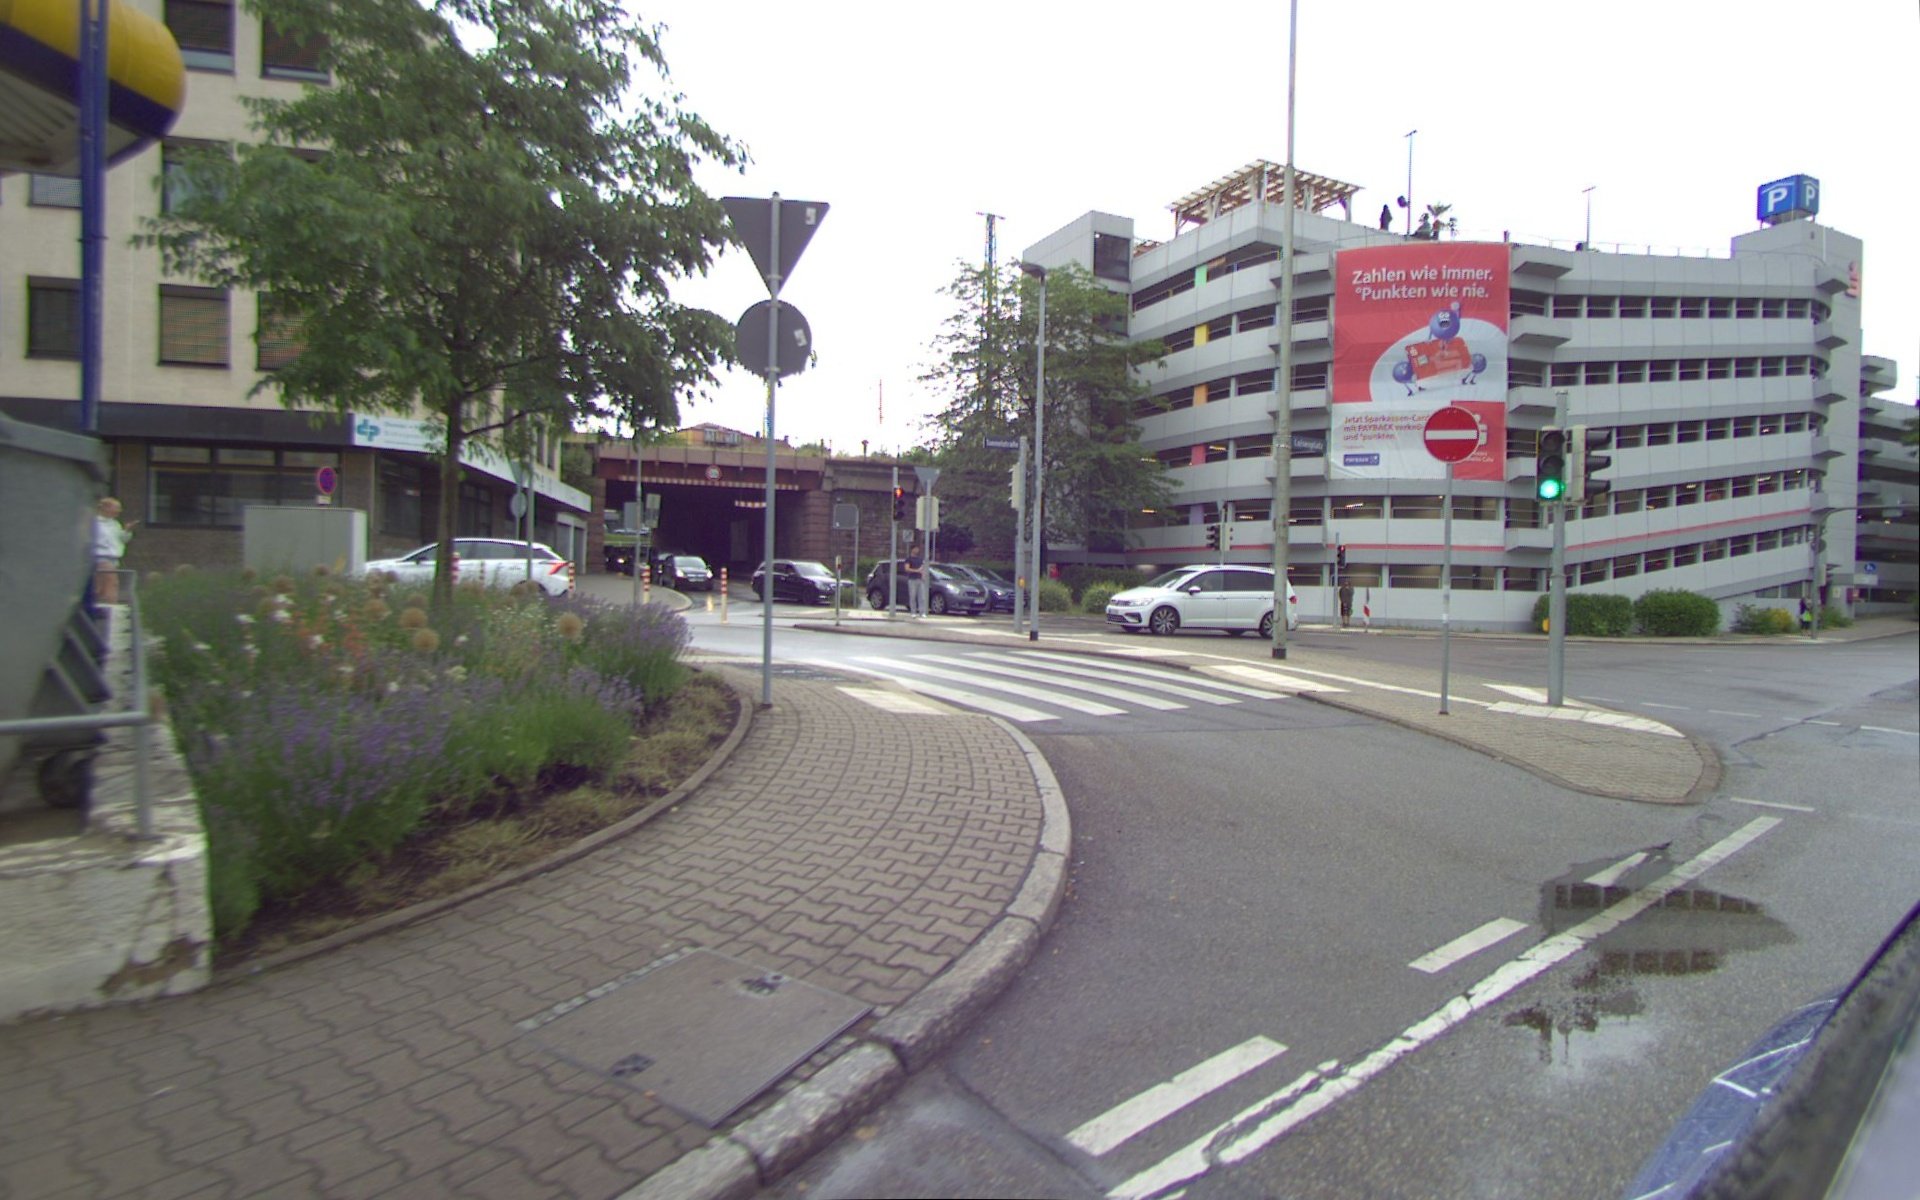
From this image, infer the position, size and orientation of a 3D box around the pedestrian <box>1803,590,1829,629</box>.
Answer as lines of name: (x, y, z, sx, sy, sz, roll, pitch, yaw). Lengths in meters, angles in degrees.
pedestrian: (37.567, 0.420, 44.418, 0.508, 1.679, 0.586, 0, 4, -23)

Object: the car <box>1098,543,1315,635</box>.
car: (5.588, -0.223, 23.191, 4.308, 1.748, 2.004, 4, -1, -12)

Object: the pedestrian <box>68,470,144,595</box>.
pedestrian: (-10.691, -0.828, 12.674, 0.565, 1.534, 0.478, 0, 0, 9)

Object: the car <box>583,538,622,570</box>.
car: (-22.036, -2.790, 62.315, 1.958, 1.805, 4.171, 0, 0, -24)

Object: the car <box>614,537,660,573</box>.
car: (-17.997, -2.463, 56.248, 1.958, 1.805, 4.171, 0, 0, -24)

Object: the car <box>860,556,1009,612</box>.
car: (-0.842, -0.524, 31.360, 4.468, 1.462, 1.970, 5, 3, 42)

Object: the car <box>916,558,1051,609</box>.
car: (0.725, -0.582, 34.189, 1.966, 1.462, 4.477, 0, 3, -43)

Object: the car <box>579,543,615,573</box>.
car: (-23.841, -2.709, 66.373, 1.958, 1.805, 4.171, 0, 0, -24)

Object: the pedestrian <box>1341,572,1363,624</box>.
pedestrian: (14.831, -0.065, 38.279, 0.536, 1.913, 0.506, 4, 2, 10)

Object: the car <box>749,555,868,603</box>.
car: (-5.449, -0.759, 35.934, 1.966, 1.462, 4.477, 0, 3, -43)

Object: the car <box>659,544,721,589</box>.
car: (-11.720, -1.391, 43.705, 1.958, 1.805, 4.171, 0, 0, -24)

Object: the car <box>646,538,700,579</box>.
car: (-14.047, -1.982, 49.330, 1.958, 1.805, 4.171, 0, 0, -24)

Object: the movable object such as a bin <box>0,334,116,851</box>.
movable object such as a bin: (-4.115, -0.060, 3.552, 1.741, 1.594, 2.161, 0, 2, -39)

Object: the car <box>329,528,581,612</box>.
car: (-9.779, -0.541, 19.949, 4.120, 1.497, 1.809, 1, -1, -14)

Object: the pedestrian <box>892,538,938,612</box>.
pedestrian: (-1.122, -0.608, 25.178, 0.762, 1.814, 0.856, 0, 0, -44)

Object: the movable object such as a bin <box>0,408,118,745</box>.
movable object such as a bin: (-5.529, -0.164, 5.261, 1.741, 1.574, 2.161, 0, 3, -39)
